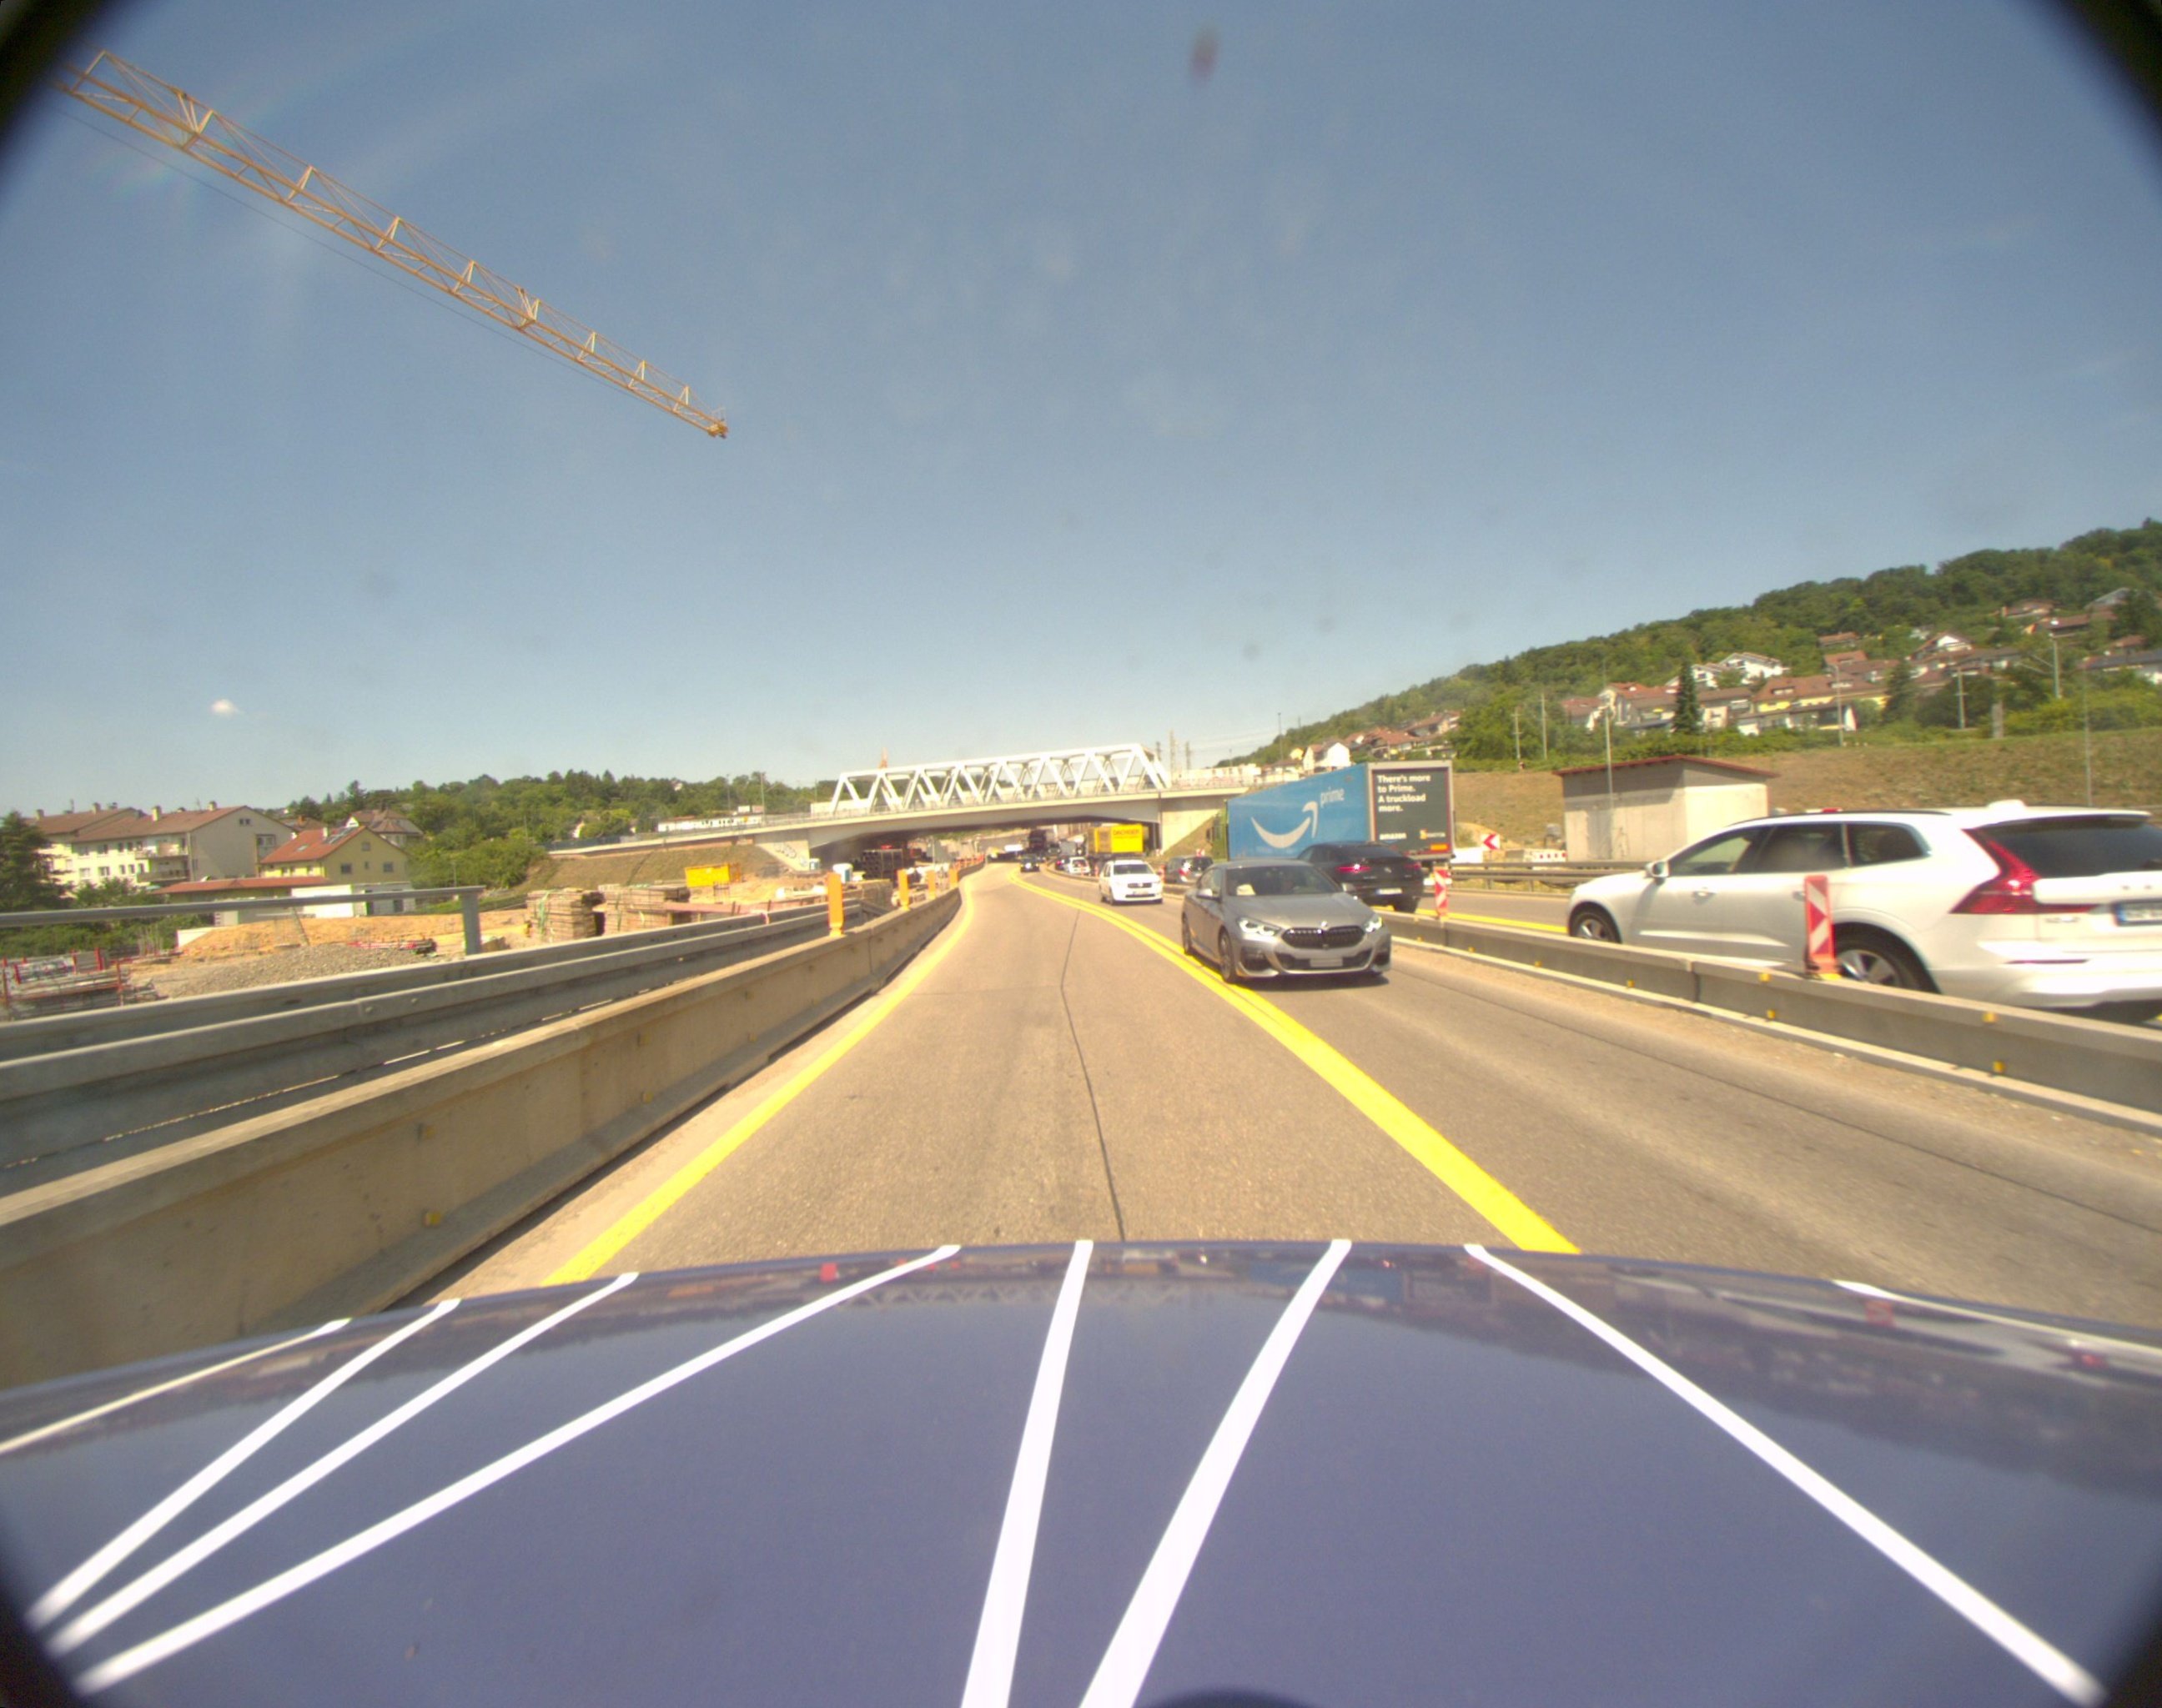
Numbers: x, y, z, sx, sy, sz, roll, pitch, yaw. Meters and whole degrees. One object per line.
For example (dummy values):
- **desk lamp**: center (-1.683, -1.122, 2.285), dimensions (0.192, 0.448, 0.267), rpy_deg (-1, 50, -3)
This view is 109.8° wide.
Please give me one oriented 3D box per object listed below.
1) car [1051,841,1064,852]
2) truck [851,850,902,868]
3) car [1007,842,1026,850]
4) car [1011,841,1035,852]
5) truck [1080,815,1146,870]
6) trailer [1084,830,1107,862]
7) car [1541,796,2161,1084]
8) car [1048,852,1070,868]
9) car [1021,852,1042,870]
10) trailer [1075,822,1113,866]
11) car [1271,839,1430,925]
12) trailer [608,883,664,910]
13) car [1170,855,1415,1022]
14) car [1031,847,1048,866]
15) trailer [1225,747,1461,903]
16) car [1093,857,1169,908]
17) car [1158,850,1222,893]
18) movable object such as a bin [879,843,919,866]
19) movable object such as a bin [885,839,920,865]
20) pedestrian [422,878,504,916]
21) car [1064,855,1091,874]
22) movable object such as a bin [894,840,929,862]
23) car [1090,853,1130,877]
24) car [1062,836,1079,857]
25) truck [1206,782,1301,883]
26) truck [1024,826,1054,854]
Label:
- **car**: center (-3.664, -1.132, 117.358), dimensions (1.801, 1.543, 3.998), rpy_deg (-3, 2, 0)
- **truck**: center (-29.803, 0.725, 110.777), dimensions (6.534, 2.062, 2.665), rpy_deg (-4, 3, 7)
- **car**: center (-17.340, -2.124, 203.372), dimensions (4.802, 1.759, 1.719), rpy_deg (-5, 3, -1)
- **car**: center (-16.065, -2.089, 210.126), dimensions (6.306, 2.567, 2.053), rpy_deg (-6, 2, -9)
- **truck**: center (2.626, -0.973, 69.558), dimensions (2.816, 4.317, 15.360), rpy_deg (-4, 1, -9)
- **trailer**: center (1.792, -1.171, 99.214), dimensions (2.532, 3.768, 10.240), rpy_deg (-4, 2, 0)
- **car**: center (6.475, 0.527, 6.753), dimensions (1.825, 1.637, 4.571), rpy_deg (-3, -1, -1)
- **car**: center (-2.219, 0.563, 74.853), dimensions (1.682, 1.354, 4.499), rpy_deg (-4, 1, -7)
- **car**: center (-4.857, 0.682, 74.103), dimensions (1.801, 1.543, 3.997), rpy_deg (-3, 2, -5)
- **trailer**: center (1.274, -1.043, 78.326), dimensions (2.875, 4.206, 5.213), rpy_deg (-3, 1, -8)
- **car**: center (6.089, 0.583, 17.866), dimensions (1.886, 1.637, 4.714), rpy_deg (-3, 0, -2)
- **trailer**: center (-31.699, 2.974, 54.241), dimensions (1.627, 1.478, 3.824), rpy_deg (-4, 2, 1)
- **car**: center (2.440, 0.875, 10.006), dimensions (1.838, 1.588, 4.388), rpy_deg (-3, 0, -1)
- **car**: center (-5.221, 0.333, 95.638), dimensions (1.999, 2.003, 3.996), rpy_deg (-3, 4, -2)
- **trailer**: center (8.774, -0.893, 28.292), dimensions (2.655, 4.268, 13.299), rpy_deg (-4, 1, -6)
- **car**: center (1.639, 0.920, 26.493), dimensions (1.839, 1.465, 4.386), rpy_deg (-3, 1, -6)
- **car**: center (4.542, 0.674, 32.222), dimensions (1.825, 1.576, 4.299), rpy_deg (-4, 1, -3)
- **movable object such as a bin**: center (-28.732, 0.074, 120.099), dimensions (5.249, 3.041, 2.496), rpy_deg (-4, 4, 8)
- **movable object such as a bin**: center (-27.189, -0.277, 115.860), dimensions (3.887, 3.524, 2.904), rpy_deg (-3, 4, 15)
- **pedestrian**: center (-42.069, 2.895, 51.835), dimensions (1.998, 2.003, 3.998), rpy_deg (-3, 4, 3)
- **car**: center (-0.305, 0.869, 62.235), dimensions (1.642, 1.477, 3.997), rpy_deg (-2, -1, -9)
- **movable object such as a bin**: center (-28.377, -0.547, 127.327), dimensions (4.562, 3.270, 2.990), rpy_deg (-4, 4, 8)
- **car**: center (1.894, 0.707, 50.643), dimensions (1.826, 1.427, 4.580), rpy_deg (-4, 0, -8)
- **car**: center (-1.368, -1.023, 99.974), dimensions (2.076, 2.490, 6.480), rpy_deg (-3, 3, 0)
- **truck**: center (7.961, -0.969, 35.635), dimensions (2.633, 4.246, 4.728), rpy_deg (-4, 1, -7)
- **truck**: center (-6.786, -2.420, 125.381), dimensions (3.462, 4.026, 10.206), rpy_deg (-3, 4, 4)
